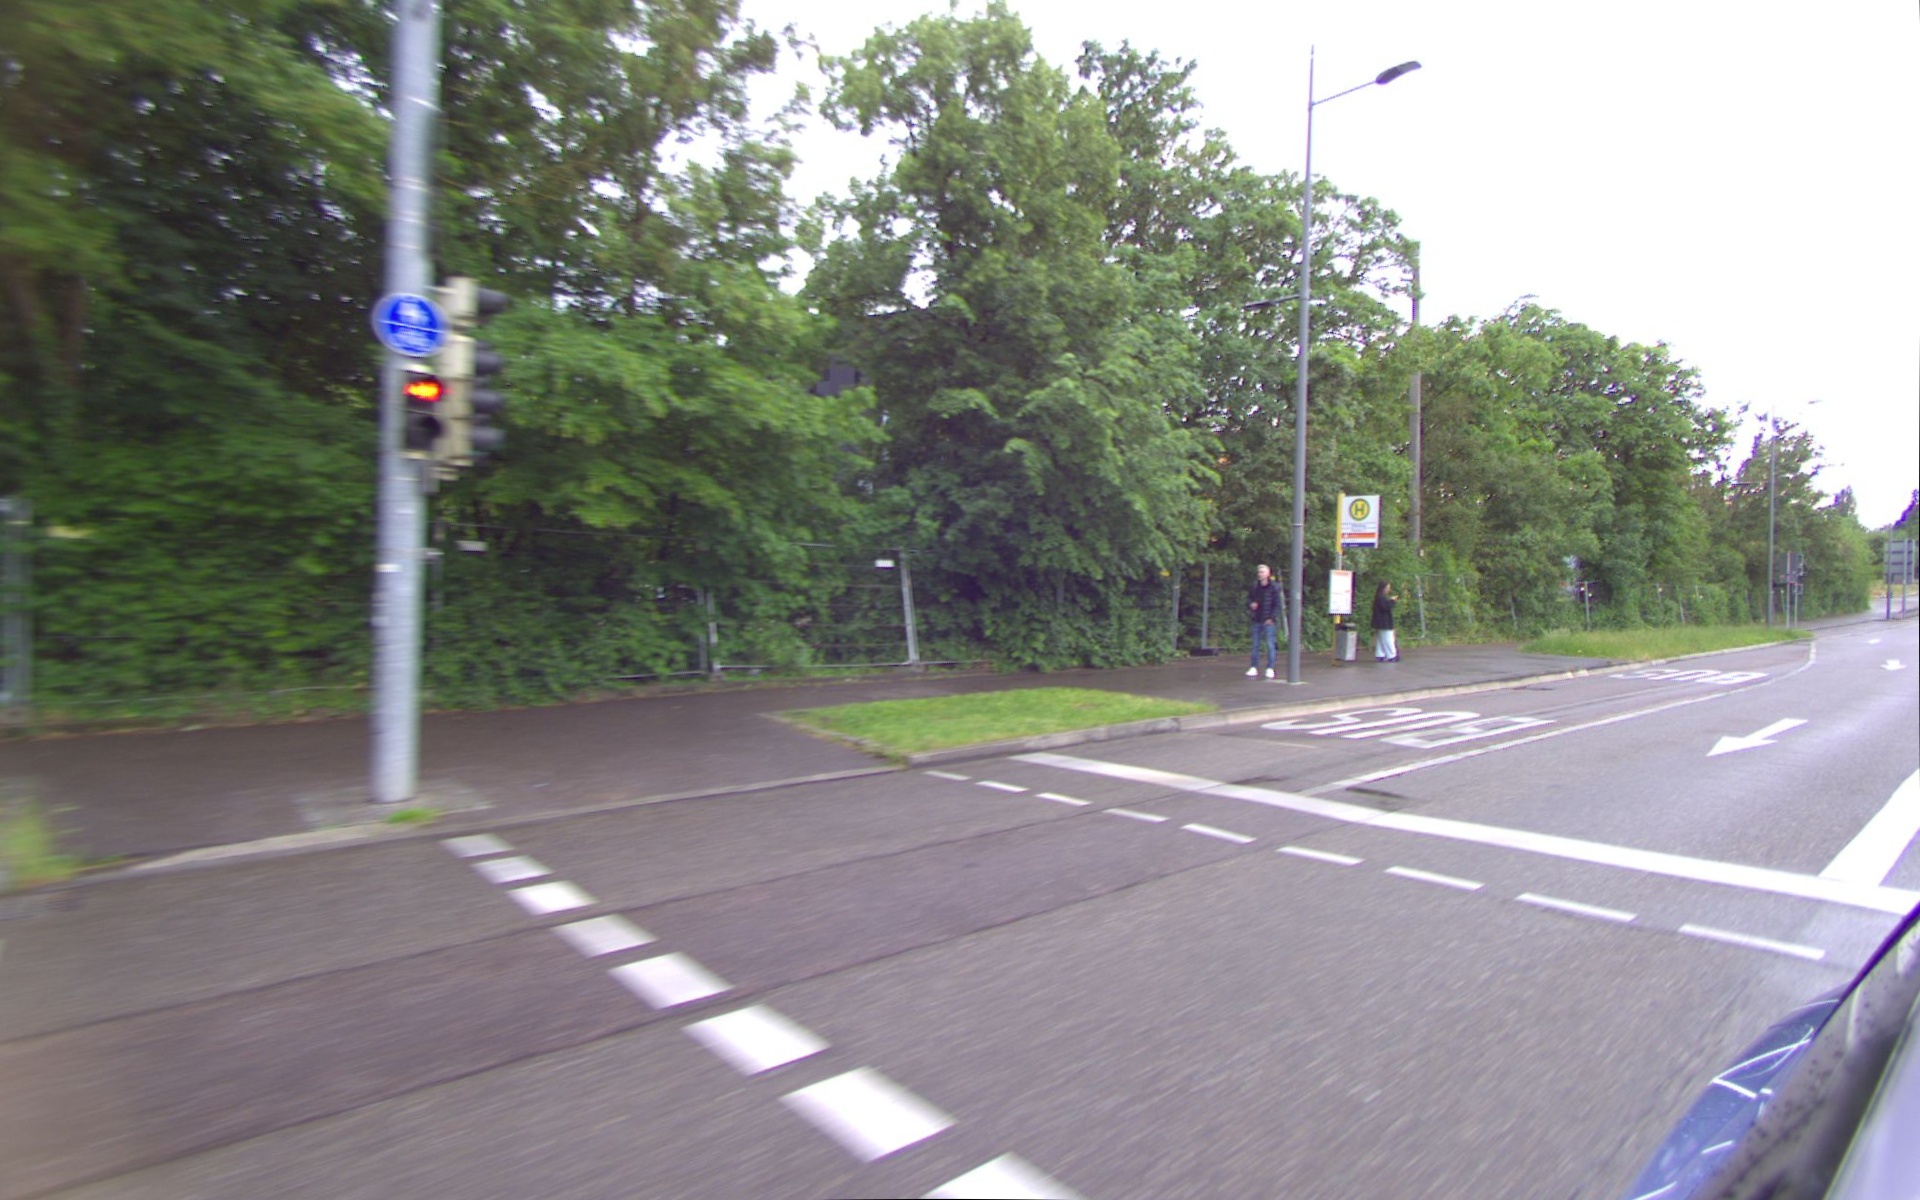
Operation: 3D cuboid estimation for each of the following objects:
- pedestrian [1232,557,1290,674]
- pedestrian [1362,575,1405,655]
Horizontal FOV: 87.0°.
[{"bbox_3d":[5.190,0.249,17.457,0.587,1.973,0.742,0,1,-40],"label":"pedestrian"},{"bbox_3d":[8.964,0.300,21.427,0.650,1.648,0.588,0,1,-40],"label":"pedestrian"}]
